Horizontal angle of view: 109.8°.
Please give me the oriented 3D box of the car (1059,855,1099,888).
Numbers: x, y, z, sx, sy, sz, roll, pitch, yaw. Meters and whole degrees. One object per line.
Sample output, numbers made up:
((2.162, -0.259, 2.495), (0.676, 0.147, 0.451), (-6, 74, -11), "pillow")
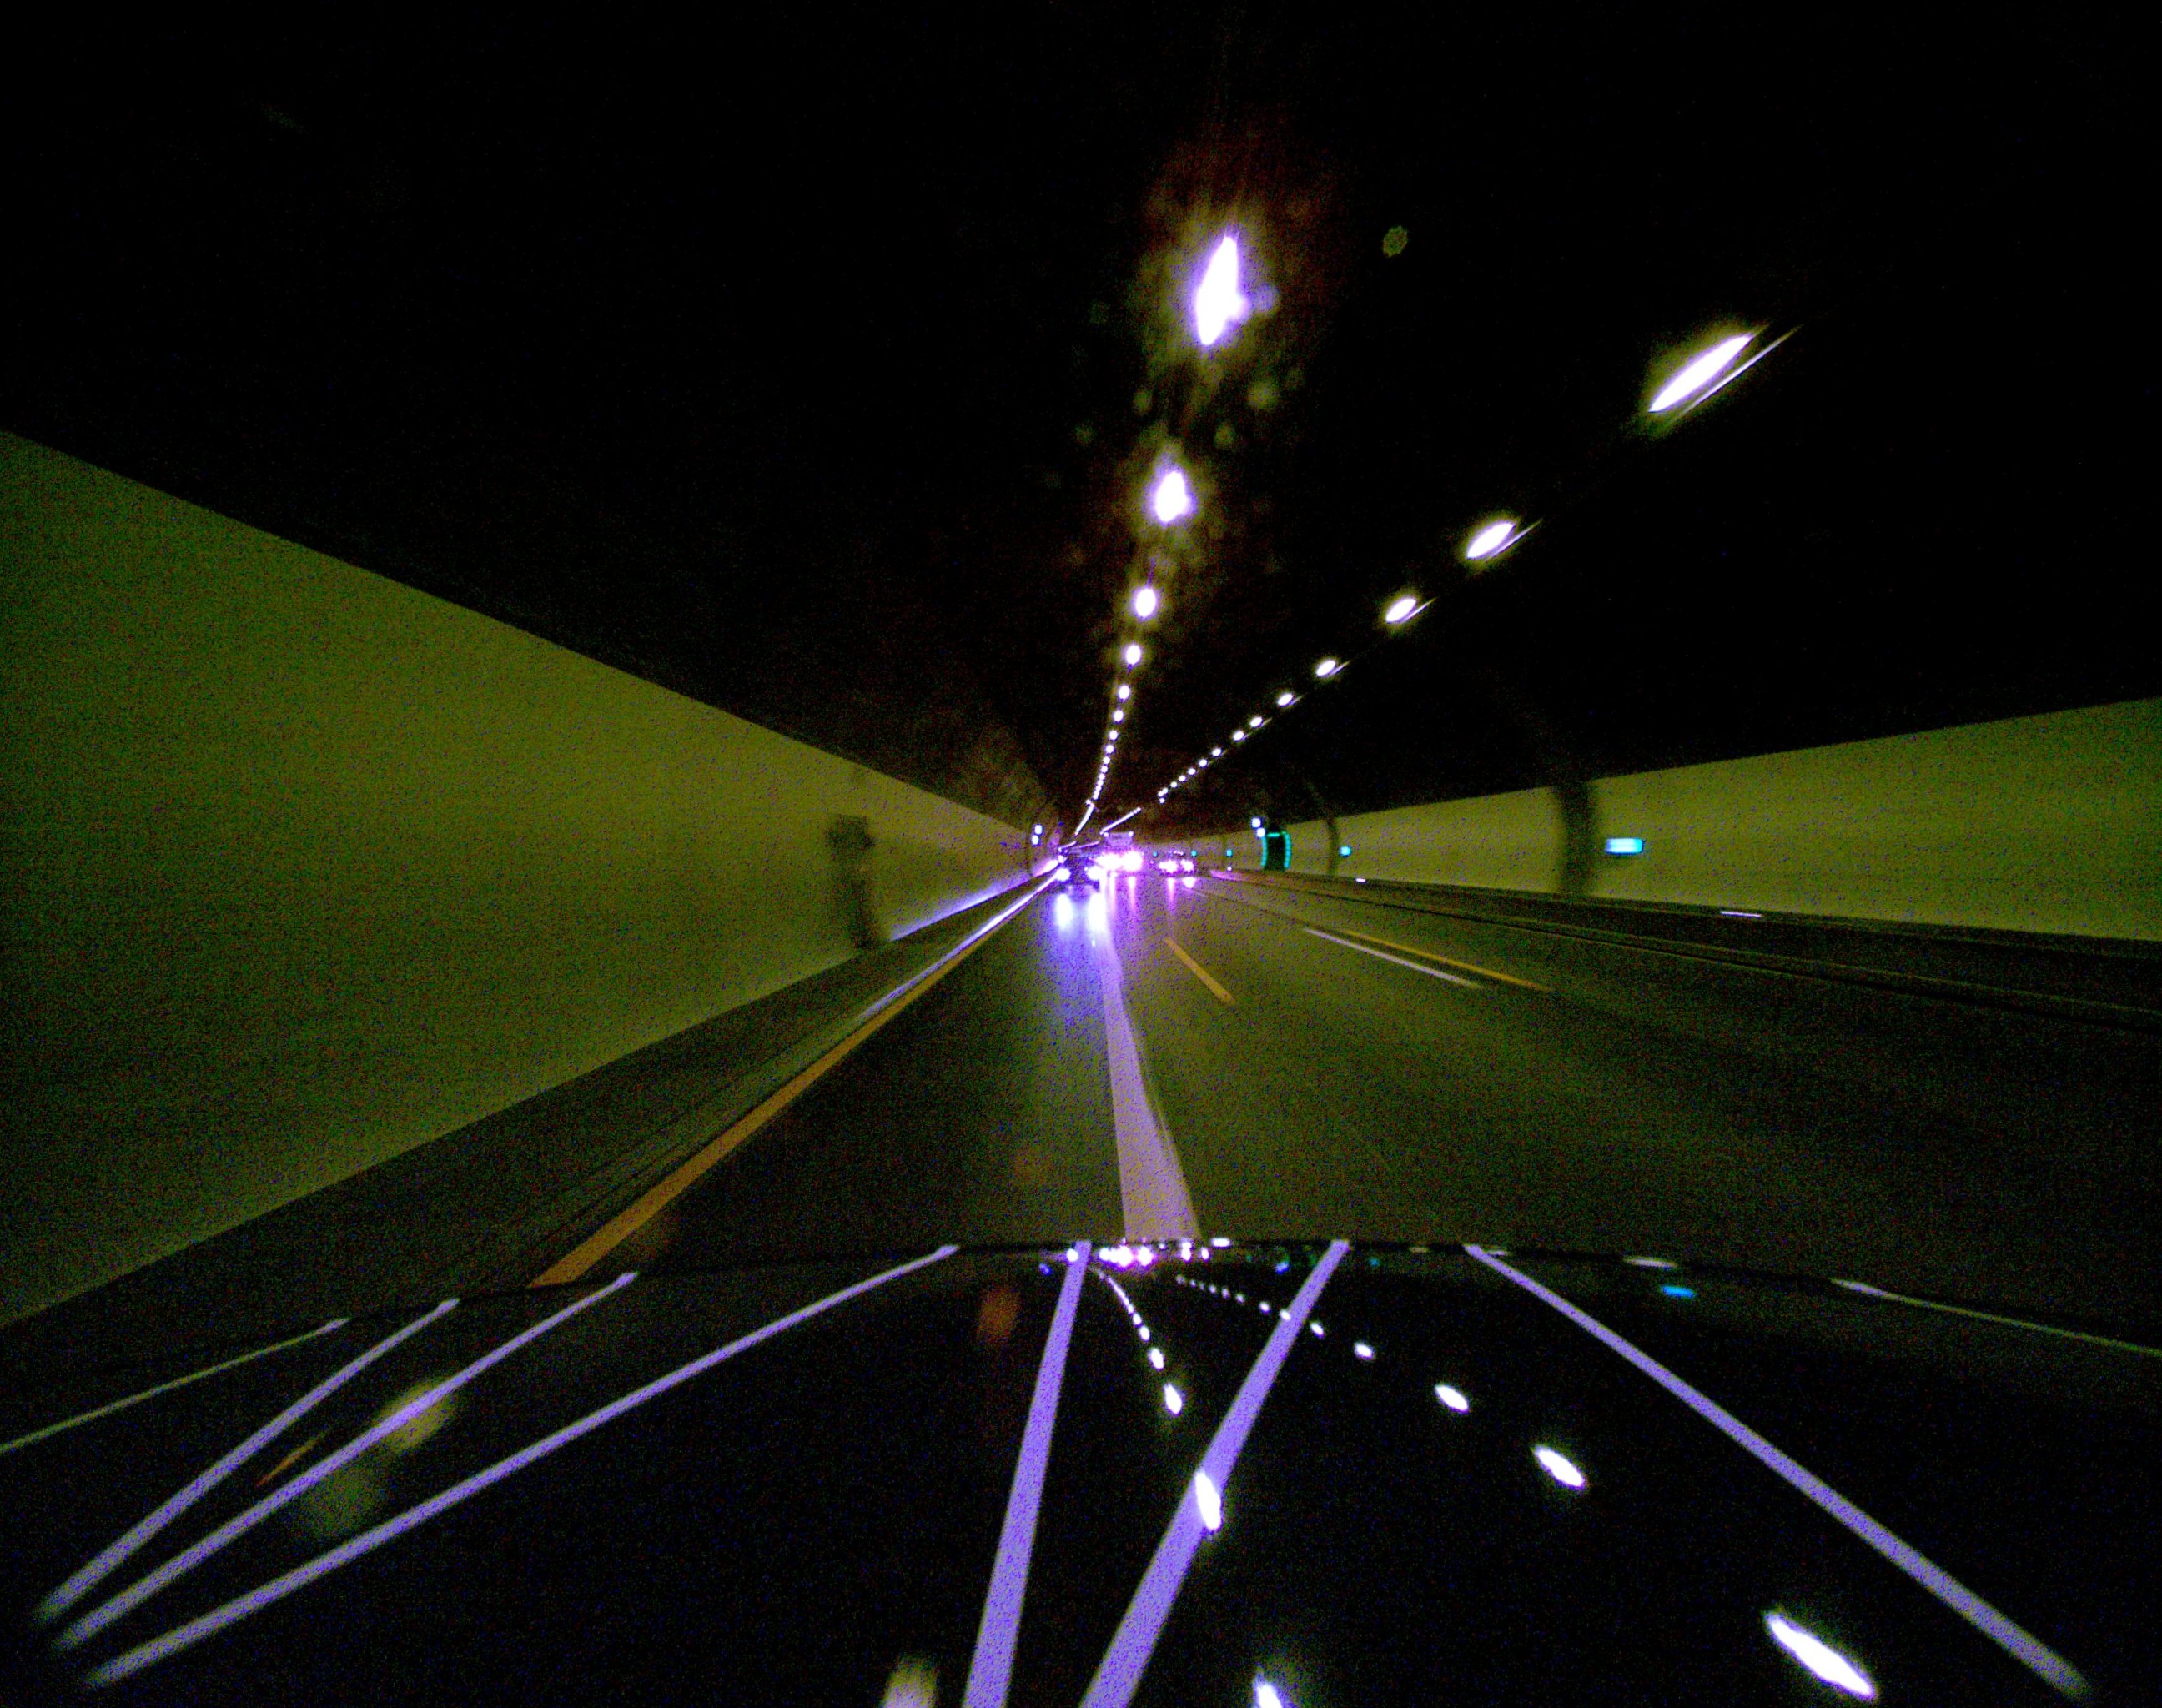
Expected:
((-0.044, 0.795, 36.394), (1.727, 1.474, 4.000), (-1, 0, 3), "car")

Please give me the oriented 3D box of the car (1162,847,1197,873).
((6.365, 0.374, 49.439), (1.766, 1.563, 4.097), (-2, 1, 0), "car")

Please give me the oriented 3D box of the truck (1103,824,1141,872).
((3.016, -0.439, 56.551), (2.374, 3.328, 4.718), (-4, 1, 0), "truck")

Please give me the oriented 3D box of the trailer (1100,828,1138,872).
((3.015, -0.328, 63.040), (2.374, 3.328, 12.077), (0, 0, -1), "trailer")

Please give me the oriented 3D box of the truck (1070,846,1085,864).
((-0.497, 0.235, 122.953), (2.151, 2.609, 9.908), (-2, -1, 0), "truck")
